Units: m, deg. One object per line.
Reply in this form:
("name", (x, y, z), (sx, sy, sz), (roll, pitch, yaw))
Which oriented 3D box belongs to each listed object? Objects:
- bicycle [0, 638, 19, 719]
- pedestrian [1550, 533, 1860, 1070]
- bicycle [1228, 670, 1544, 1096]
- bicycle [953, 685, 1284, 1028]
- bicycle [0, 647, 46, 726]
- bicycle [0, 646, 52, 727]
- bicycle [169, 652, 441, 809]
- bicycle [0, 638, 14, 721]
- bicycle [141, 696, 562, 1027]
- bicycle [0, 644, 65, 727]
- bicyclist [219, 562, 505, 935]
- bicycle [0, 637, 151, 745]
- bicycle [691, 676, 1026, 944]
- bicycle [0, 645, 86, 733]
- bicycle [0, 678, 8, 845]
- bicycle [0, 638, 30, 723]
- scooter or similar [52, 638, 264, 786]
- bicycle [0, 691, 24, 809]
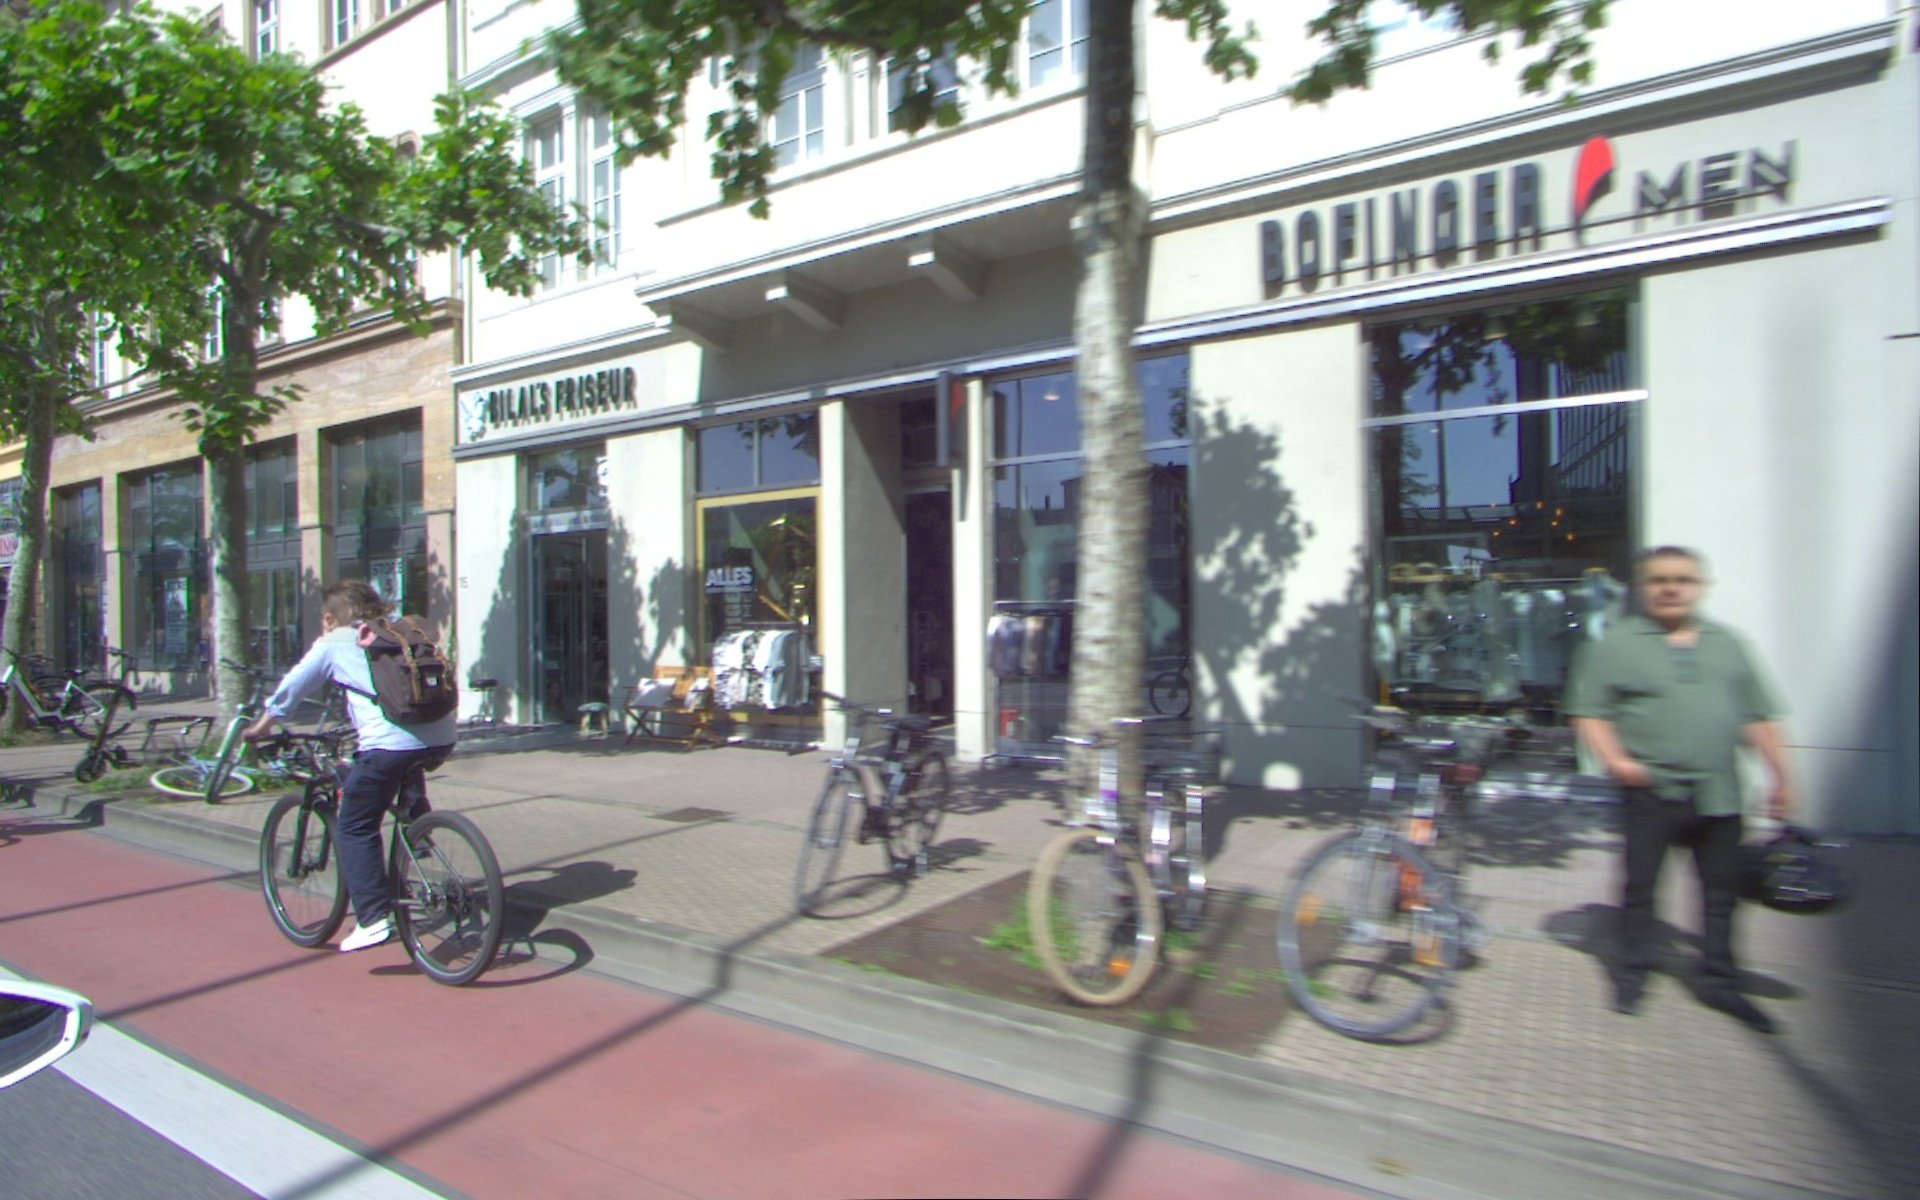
("bicycle", (-15.345, 1.201, 15.024), (0.471, 1.233, 1.724), (-1, -1, 34))
("pedestrian", (2.675, 0.656, 3.693), (0.830, 1.710, 0.639), (0, -3, 30))
("bicycle", (1.750, 0.911, 3.930), (0.665, 1.212, 1.833), (-1, -2, 39))
("bicycle", (0.776, 0.967, 4.353), (0.492, 1.141, 1.831), (-1, -3, 43))
("bicycle", (-14.084, 1.234, 14.108), (0.471, 1.123, 1.724), (-1, -1, 34))
("bicycle", (-13.754, 1.210, 13.857), (0.397, 1.123, 1.724), (-1, -1, 34))
("bicycle", (-5.574, 1.050, 8.633), (0.661, 1.201, 1.834), (-1, -3, 37))
("bicycle", (-15.035, 1.184, 14.606), (0.471, 1.233, 1.724), (-1, -1, 34))
("bicycle", (-2.805, 1.055, 4.555), (2.050, 1.141, 0.698), (-1, -2, 29))
("bicycle", (-13.396, 1.174, 13.659), (0.397, 1.123, 1.724), (-1, -1, 34))
("bicyclist", (-2.666, 0.605, 4.487), (0.946, 1.464, 0.698), (-1, -2, 29))
("bicycle", (-11.412, 1.101, 12.495), (0.726, 1.264, 1.927), (-1, -2, 34))
("bicycle", (-0.467, 1.011, 5.444), (0.784, 1.111, 1.834), (-1, -2, 37))
("bicycle", (-12.714, 1.169, 13.165), (0.726, 1.123, 1.724), (-1, -2, 34))
("bicycle", (-7.661, 1.116, 7.116), (2.050, 1.141, 0.698), (-1, -2, 29))
("bicycle", (-14.428, 1.162, 14.229), (0.471, 1.233, 1.724), (-1, -1, 34))
("scooter or similar", (-7.572, 1.012, 9.500), (0.663, 1.290, 1.467), (-1, -3, 43))
("bicycle", (-8.861, 1.244, 8.630), (2.056, 0.938, 0.599), (0, 0, 30))
